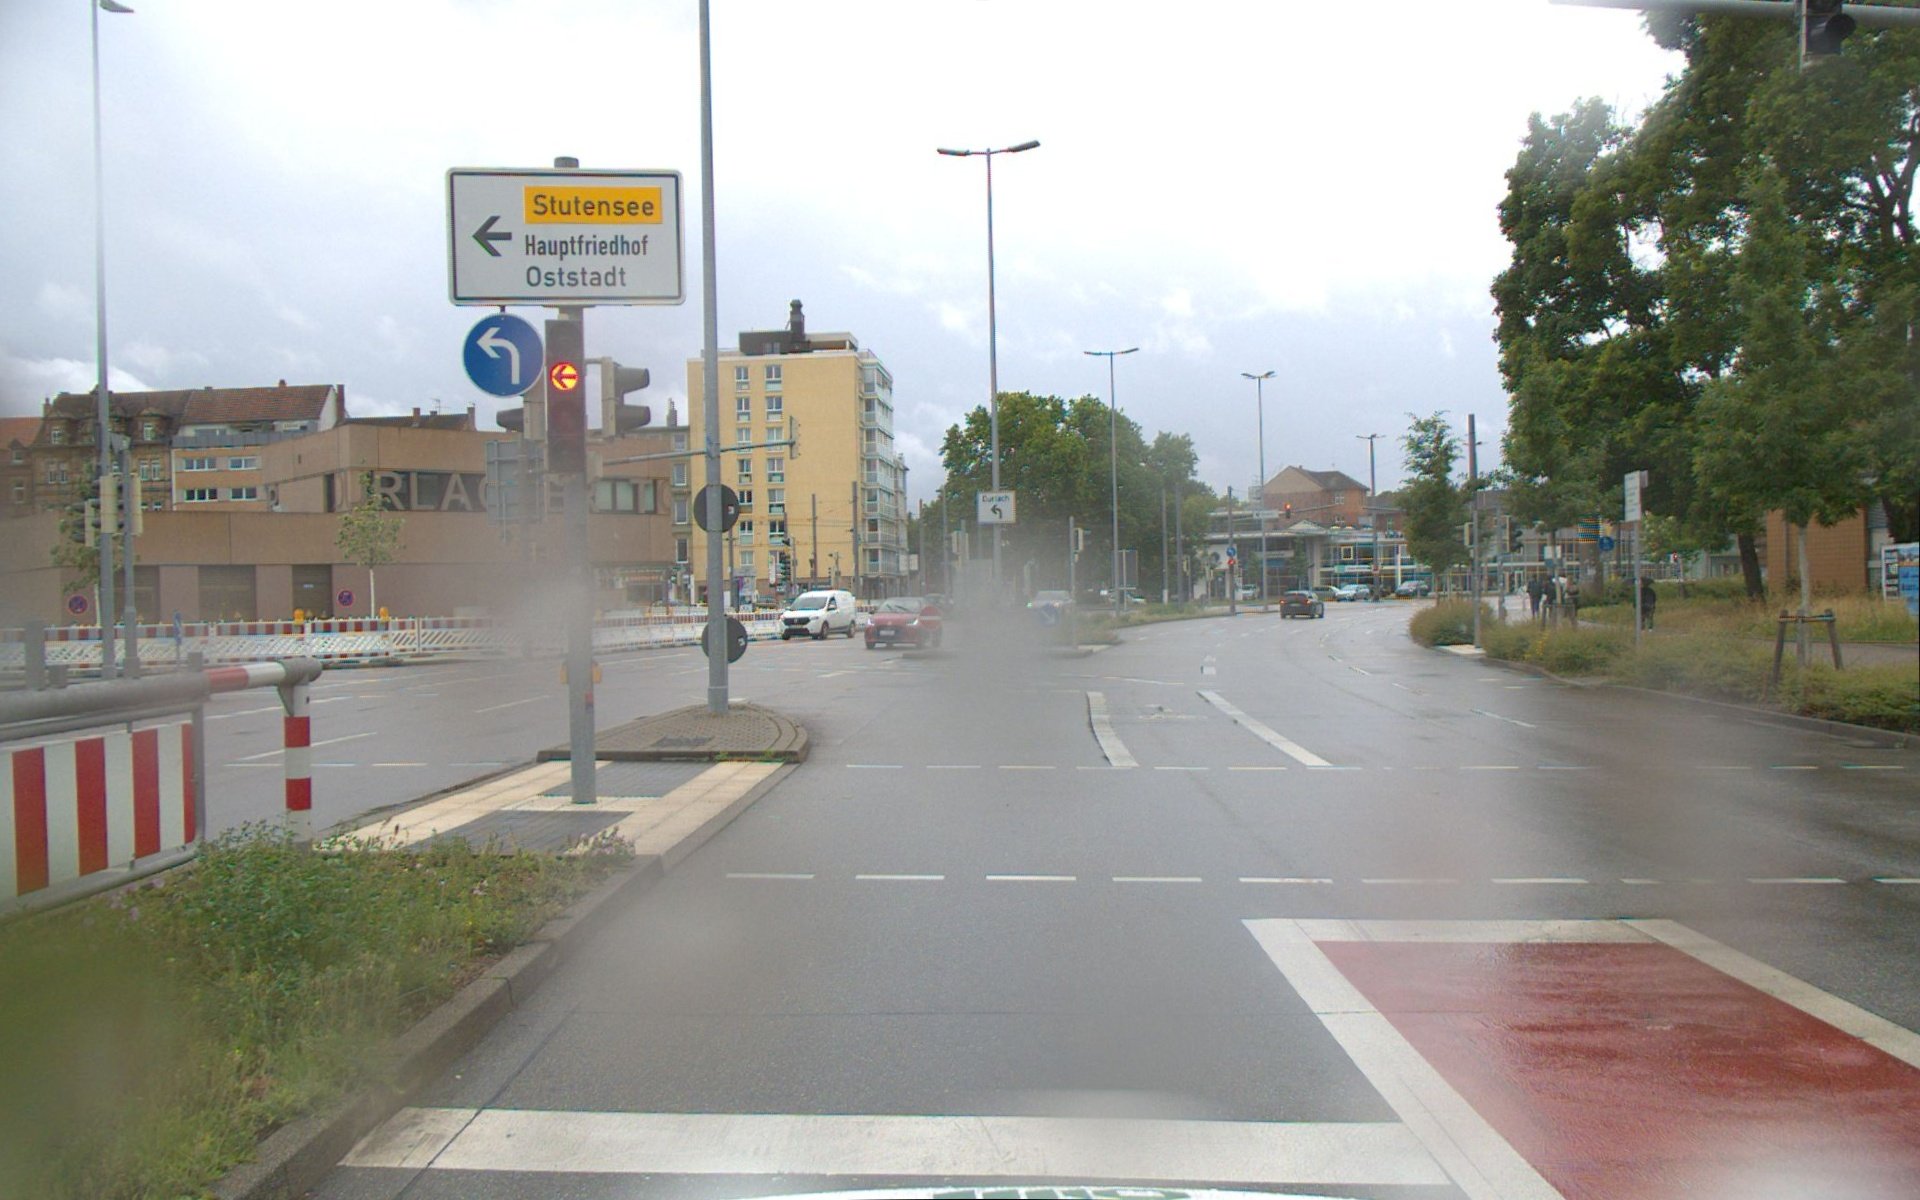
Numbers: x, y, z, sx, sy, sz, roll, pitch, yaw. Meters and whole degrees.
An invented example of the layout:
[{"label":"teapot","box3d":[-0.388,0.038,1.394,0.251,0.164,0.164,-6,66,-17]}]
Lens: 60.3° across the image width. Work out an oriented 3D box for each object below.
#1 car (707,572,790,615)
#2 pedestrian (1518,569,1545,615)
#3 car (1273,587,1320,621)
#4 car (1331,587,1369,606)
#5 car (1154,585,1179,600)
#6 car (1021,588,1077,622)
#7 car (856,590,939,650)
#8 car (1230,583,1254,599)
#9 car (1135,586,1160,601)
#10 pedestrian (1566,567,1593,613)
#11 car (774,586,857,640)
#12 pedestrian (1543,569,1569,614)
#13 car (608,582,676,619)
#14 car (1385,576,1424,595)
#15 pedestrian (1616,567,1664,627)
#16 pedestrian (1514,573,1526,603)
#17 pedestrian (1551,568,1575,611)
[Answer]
[{"label":"car","box3d":[-18.019,-0.538,141.172,6.601,3.439,2.810,-2,0,2]},{"label":"pedestrian","box3d":[20.827,-0.294,60.296,0.737,1.615,0.937,-1,0,9]},{"label":"car","box3d":[17.723,0.197,87.075,1.753,1.672,4.160,-1,0,21]},{"label":"car","box3d":[35.184,-0.323,149.226,1.762,1.672,4.139,-1,0,39]},{"label":"car","box3d":[23.766,-0.828,190.334,1.753,1.672,4.159,-1,0,23]},{"label":"car","box3d":[4.752,0.237,87.484,1.753,1.672,4.160,-1,0,21]},{"label":"car","box3d":[-1.821,0.574,49.478,1.752,1.672,4.050,-1,0,8]},{"label":"car","box3d":[31.928,-1.047,186.984,1.753,1.672,4.159,-1,0,23]},{"label":"car","box3d":[21.729,-0.779,191.129,1.753,1.672,4.159,-1,0,23]},{"label":"pedestrian","box3d":[22.230,-0.351,59.373,0.688,1.615,0.937,-1,0,9]},{"label":"car","box3d":[-5.353,0.450,61.767,1.752,1.890,4.163,-1,0,15]},{"label":"pedestrian","box3d":[21.544,-0.312,59.771,0.688,1.615,0.937,-1,0,9]},{"label":"car","box3d":[-27.202,0.017,141.663,5.239,2.937,2.340,-2,0,2]},{"label":"car","box3d":[41.114,-1.357,153.010,1.765,1.672,4.133,-1,0,43]},{"label":"pedestrian","box3d":[18.665,-0.084,45.393,1.000,1.615,0.937,-1,0,9]},{"label":"pedestrian","box3d":[31.945,-0.683,94.329,0.575,1.658,0.621,-1,0,14]},{"label":"pedestrian","box3d":[23.356,-0.411,64.101,0.688,1.615,0.937,-1,0,9]}]
